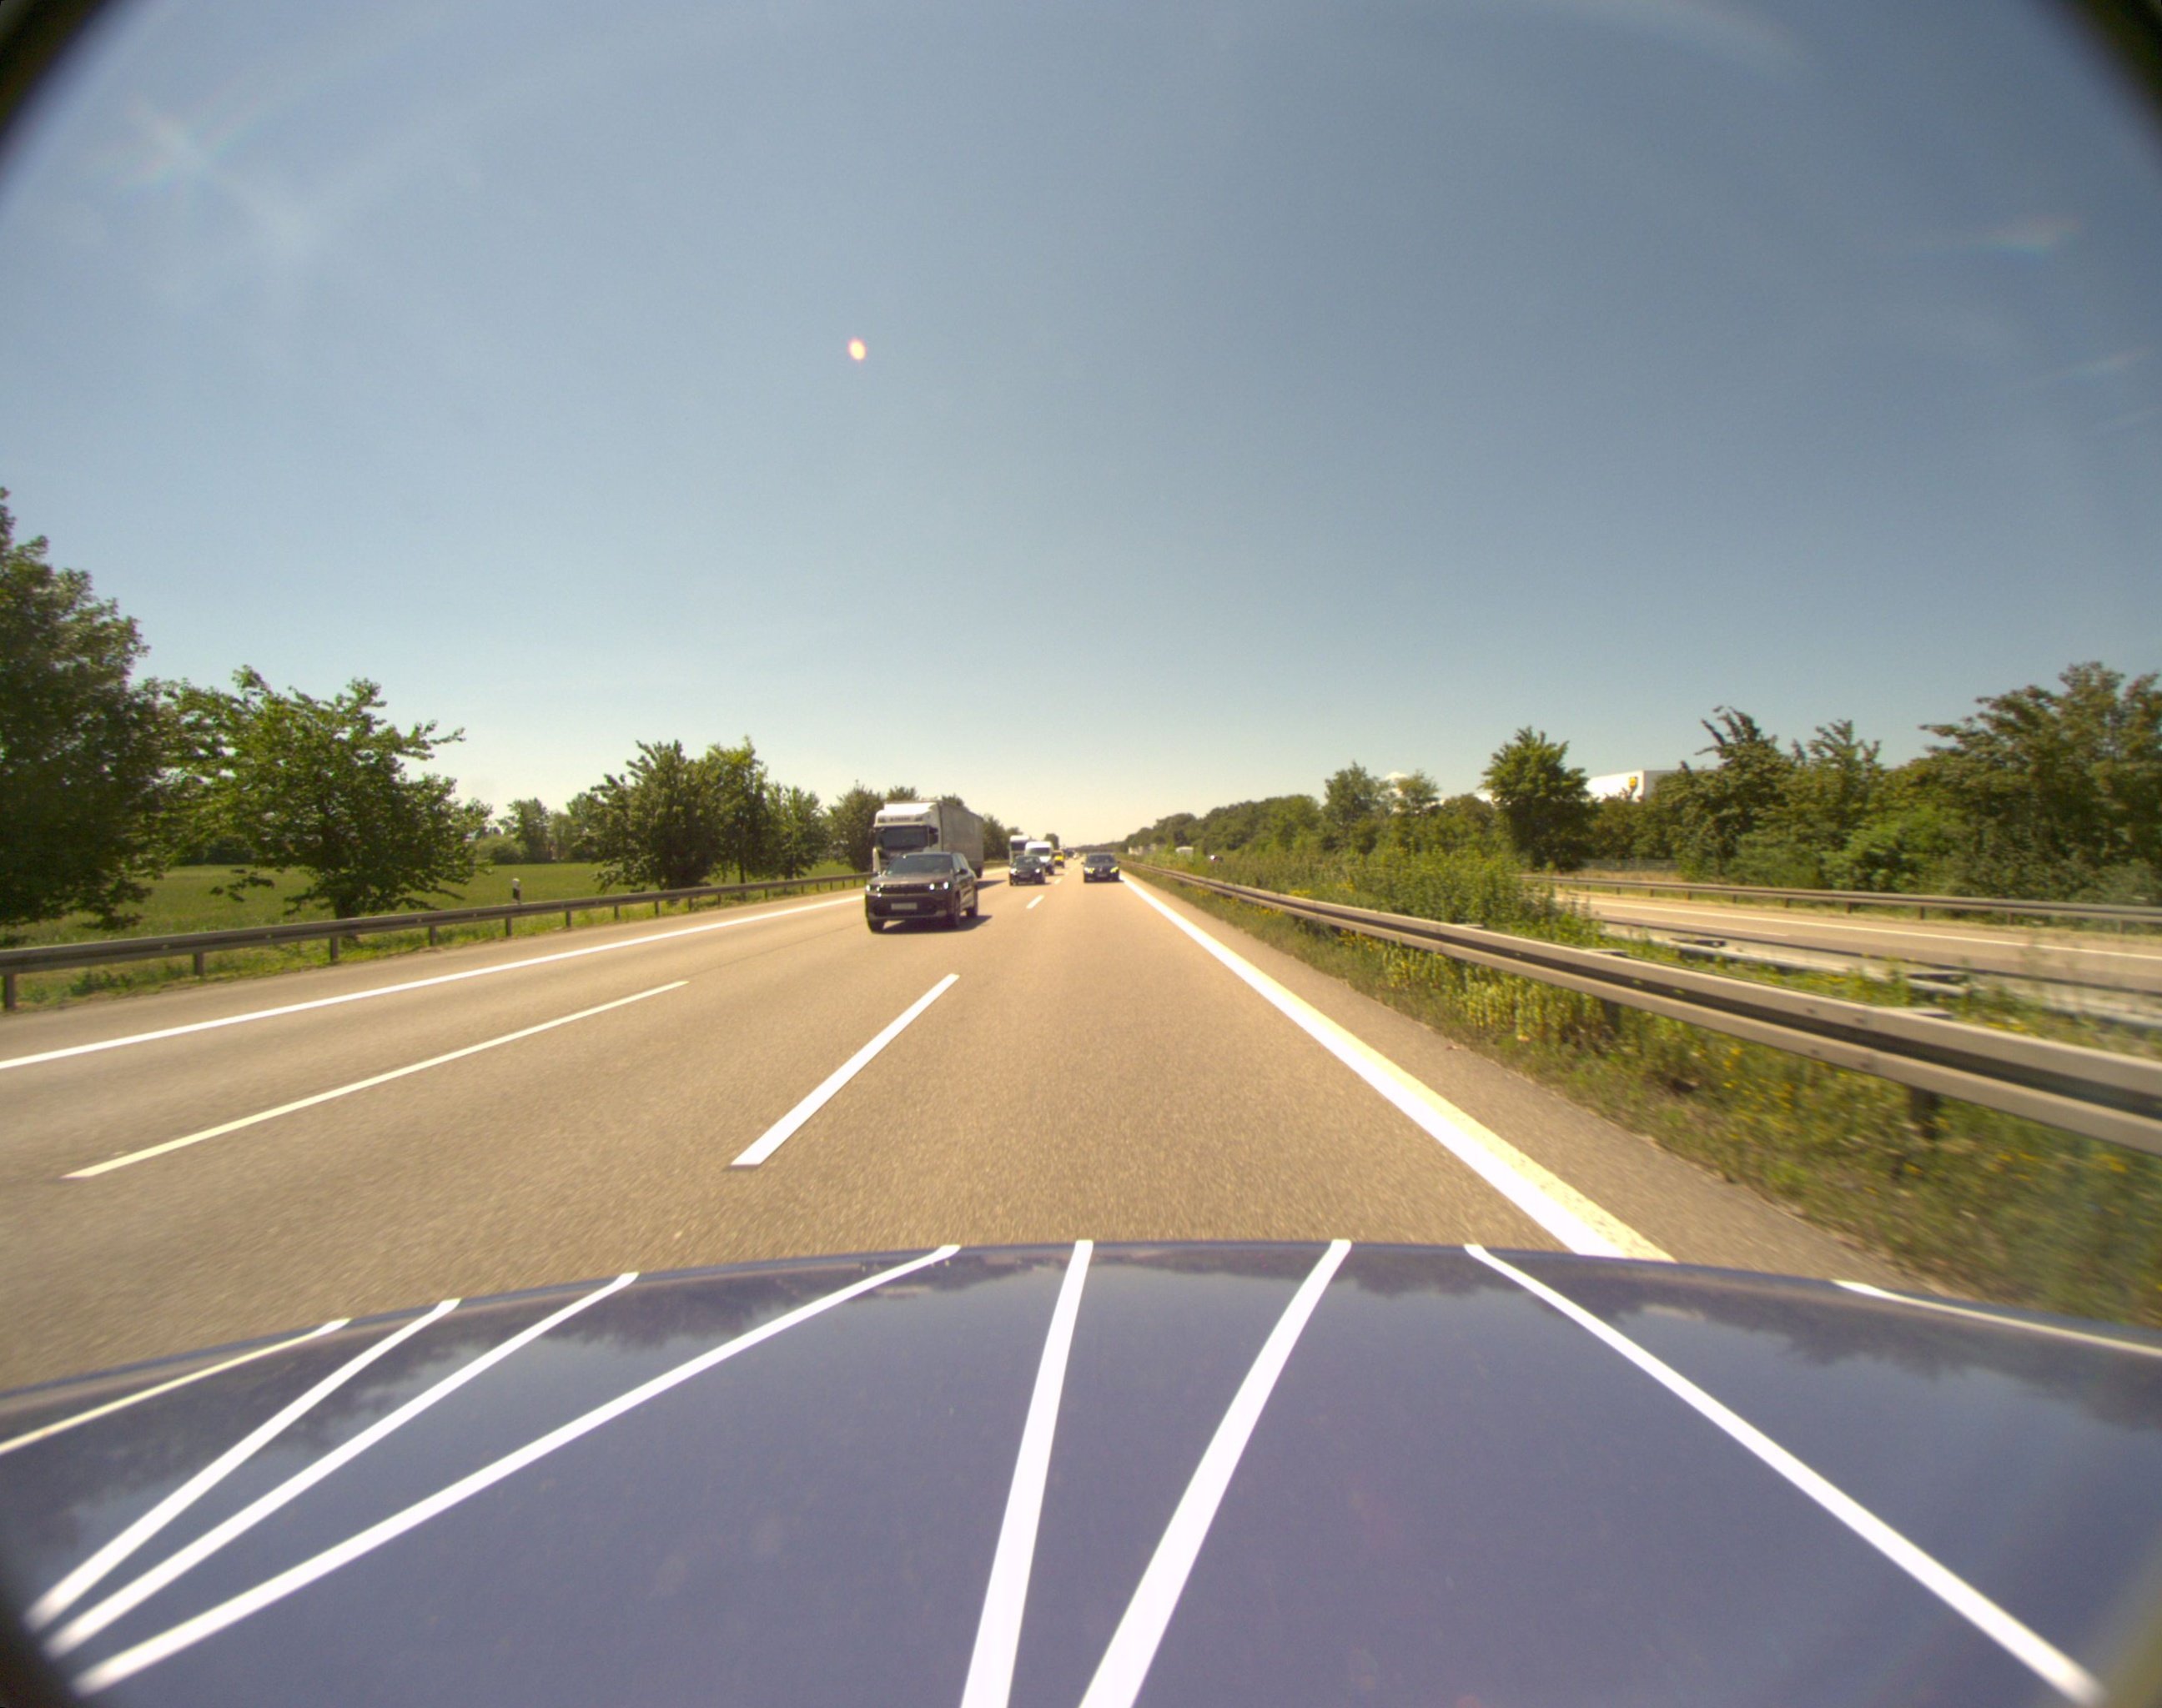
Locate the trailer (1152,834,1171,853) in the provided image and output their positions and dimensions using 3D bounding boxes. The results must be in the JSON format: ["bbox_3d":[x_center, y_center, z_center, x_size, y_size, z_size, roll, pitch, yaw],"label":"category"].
[{"bbox_3d":[19.059,-2.652,181.354,2.985,4.188,13.730,1,2,0],"label":"trailer"}]

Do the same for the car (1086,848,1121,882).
[{"bbox_3d":[1.163,0.526,39.267,1.690,1.646,3.462,-2,1,2],"label":"car"}]

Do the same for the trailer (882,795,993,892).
[{"bbox_3d":[-7.316,-0.554,41.444,2.816,4.279,14.254,-2,0,2],"label":"trailer"}]

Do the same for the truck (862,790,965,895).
[{"bbox_3d":[-7.477,-0.498,35.091,2.816,4.279,7.193,-2,1,2],"label":"truck"}]

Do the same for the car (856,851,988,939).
[{"bbox_3d":[-3.473,0.811,17.598,1.871,1.665,4.746,-2,1,2],"label":"car"}]

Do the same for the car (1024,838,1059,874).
[{"bbox_3d":[-2.851,0.118,56.057,2.159,2.494,5.945,-2,1,0],"label":"car"}]

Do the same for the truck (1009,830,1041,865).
[{"bbox_3d":[-6.702,-0.754,91.777,2.699,3.943,7.705,-2,0,3],"label":"truck"}]

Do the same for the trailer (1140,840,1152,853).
[{"bbox_3d":[20.530,-2.314,239.182,2.764,4.079,14.052,2,1,1],"label":"trailer"}]

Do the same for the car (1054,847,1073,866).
[{"bbox_3d":[-1.919,0.215,83.483,1.958,1.939,3.999,-2,1,0],"label":"car"}]

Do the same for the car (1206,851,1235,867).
[{"bbox_3d":[14.126,0.483,77.218,1.823,1.543,3.863,0,0,-6],"label":"car"}]

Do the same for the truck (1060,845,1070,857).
[{"bbox_3d":[-5.182,-0.866,239.845,2.976,3.626,7.148,-2,1,-2],"label":"truck"}]

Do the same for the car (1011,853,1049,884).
[{"bbox_3d":[-2.562,0.723,38.914,1.692,1.465,3.432,-1,0,-1],"label":"car"}]

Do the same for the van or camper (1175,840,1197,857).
[{"bbox_3d":[18.840,-0.998,136.533,2.857,2.952,7.446,1,1,1],"label":"van or camper"}]

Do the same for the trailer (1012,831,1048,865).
[{"bbox_3d":[-6.373,-0.782,97.352,2.699,3.943,13.963,-2,0,3],"label":"trailer"}]
